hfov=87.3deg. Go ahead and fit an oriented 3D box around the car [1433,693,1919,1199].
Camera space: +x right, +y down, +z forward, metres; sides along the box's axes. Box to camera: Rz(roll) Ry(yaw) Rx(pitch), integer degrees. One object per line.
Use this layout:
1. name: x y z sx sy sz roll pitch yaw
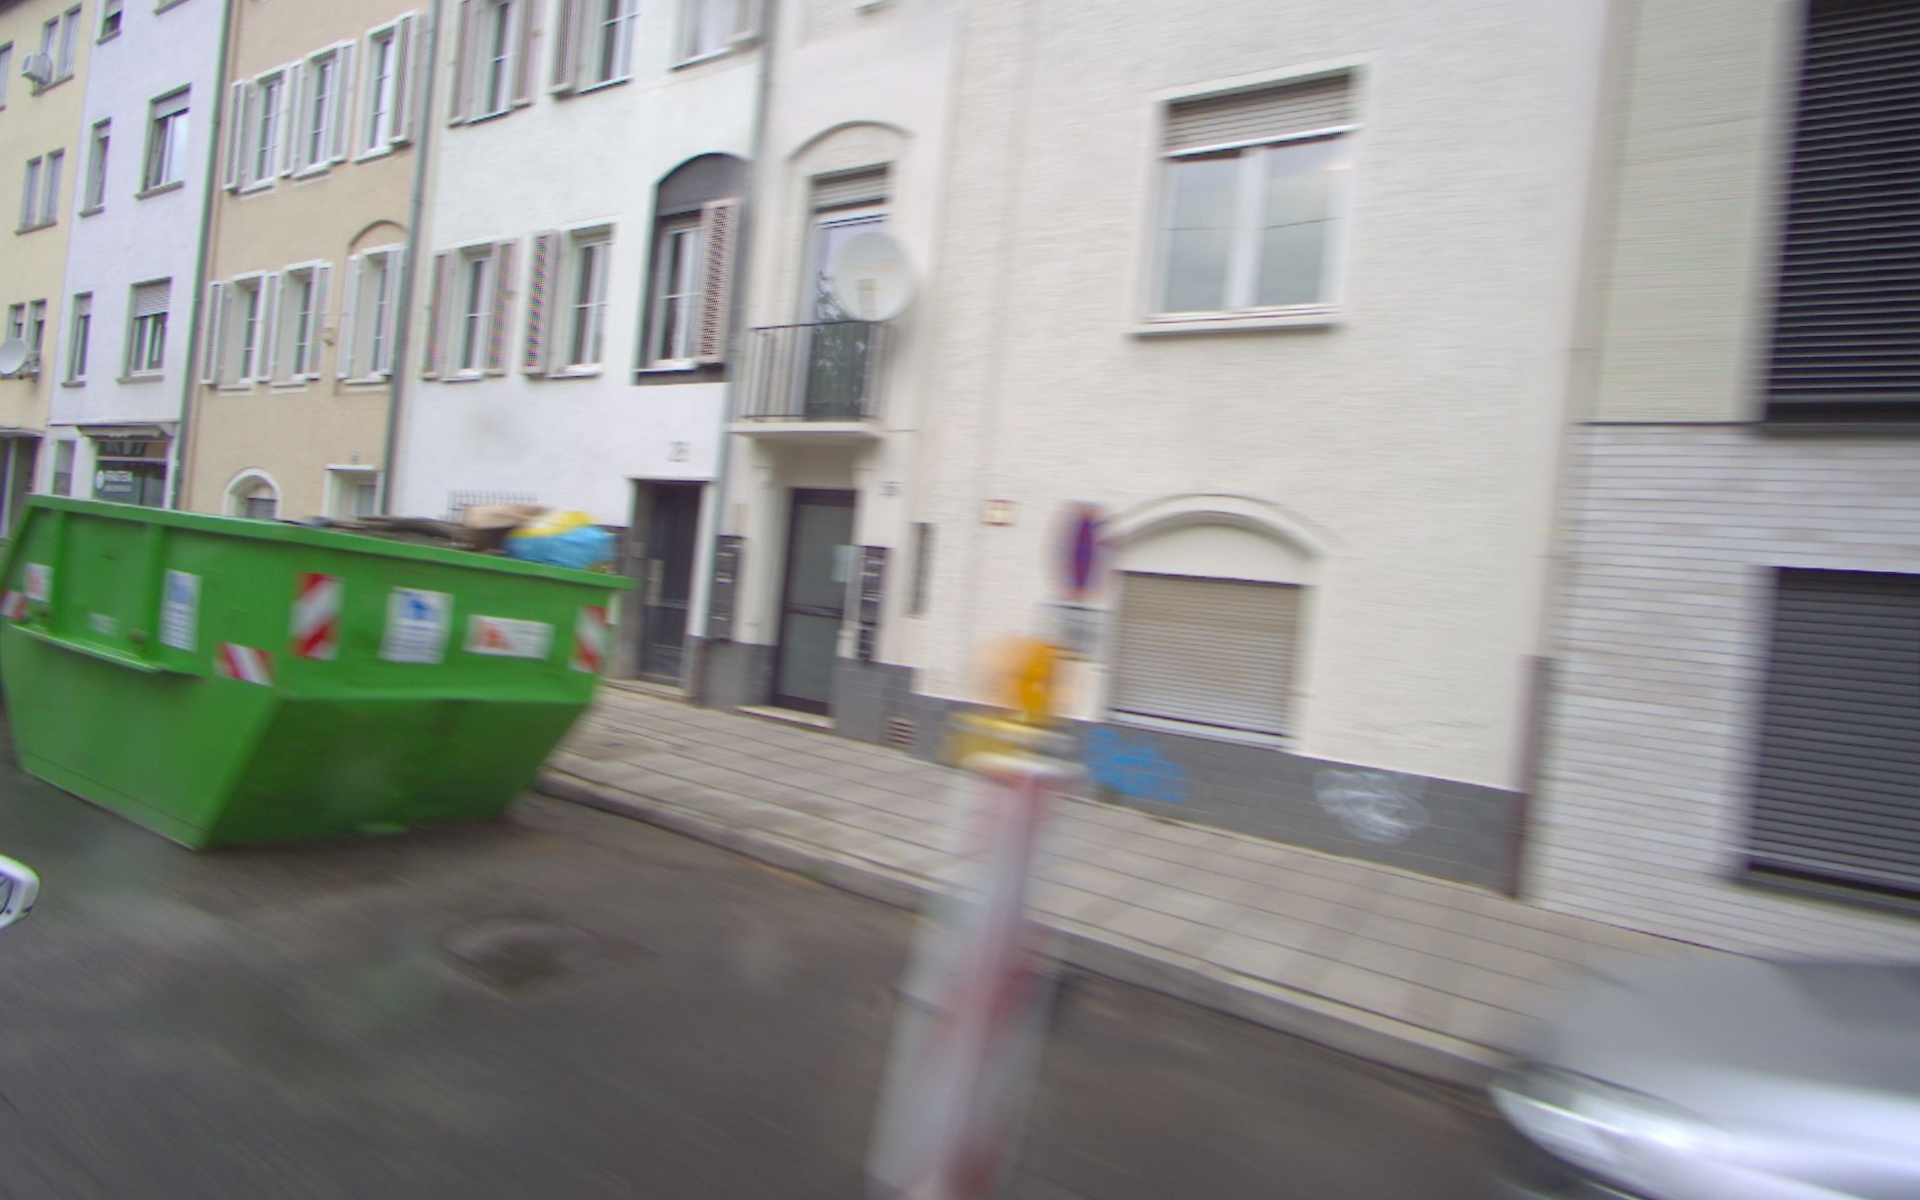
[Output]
1. car: 2.991 1.163 1.701 3.778 1.427 1.629 7 -2 32
